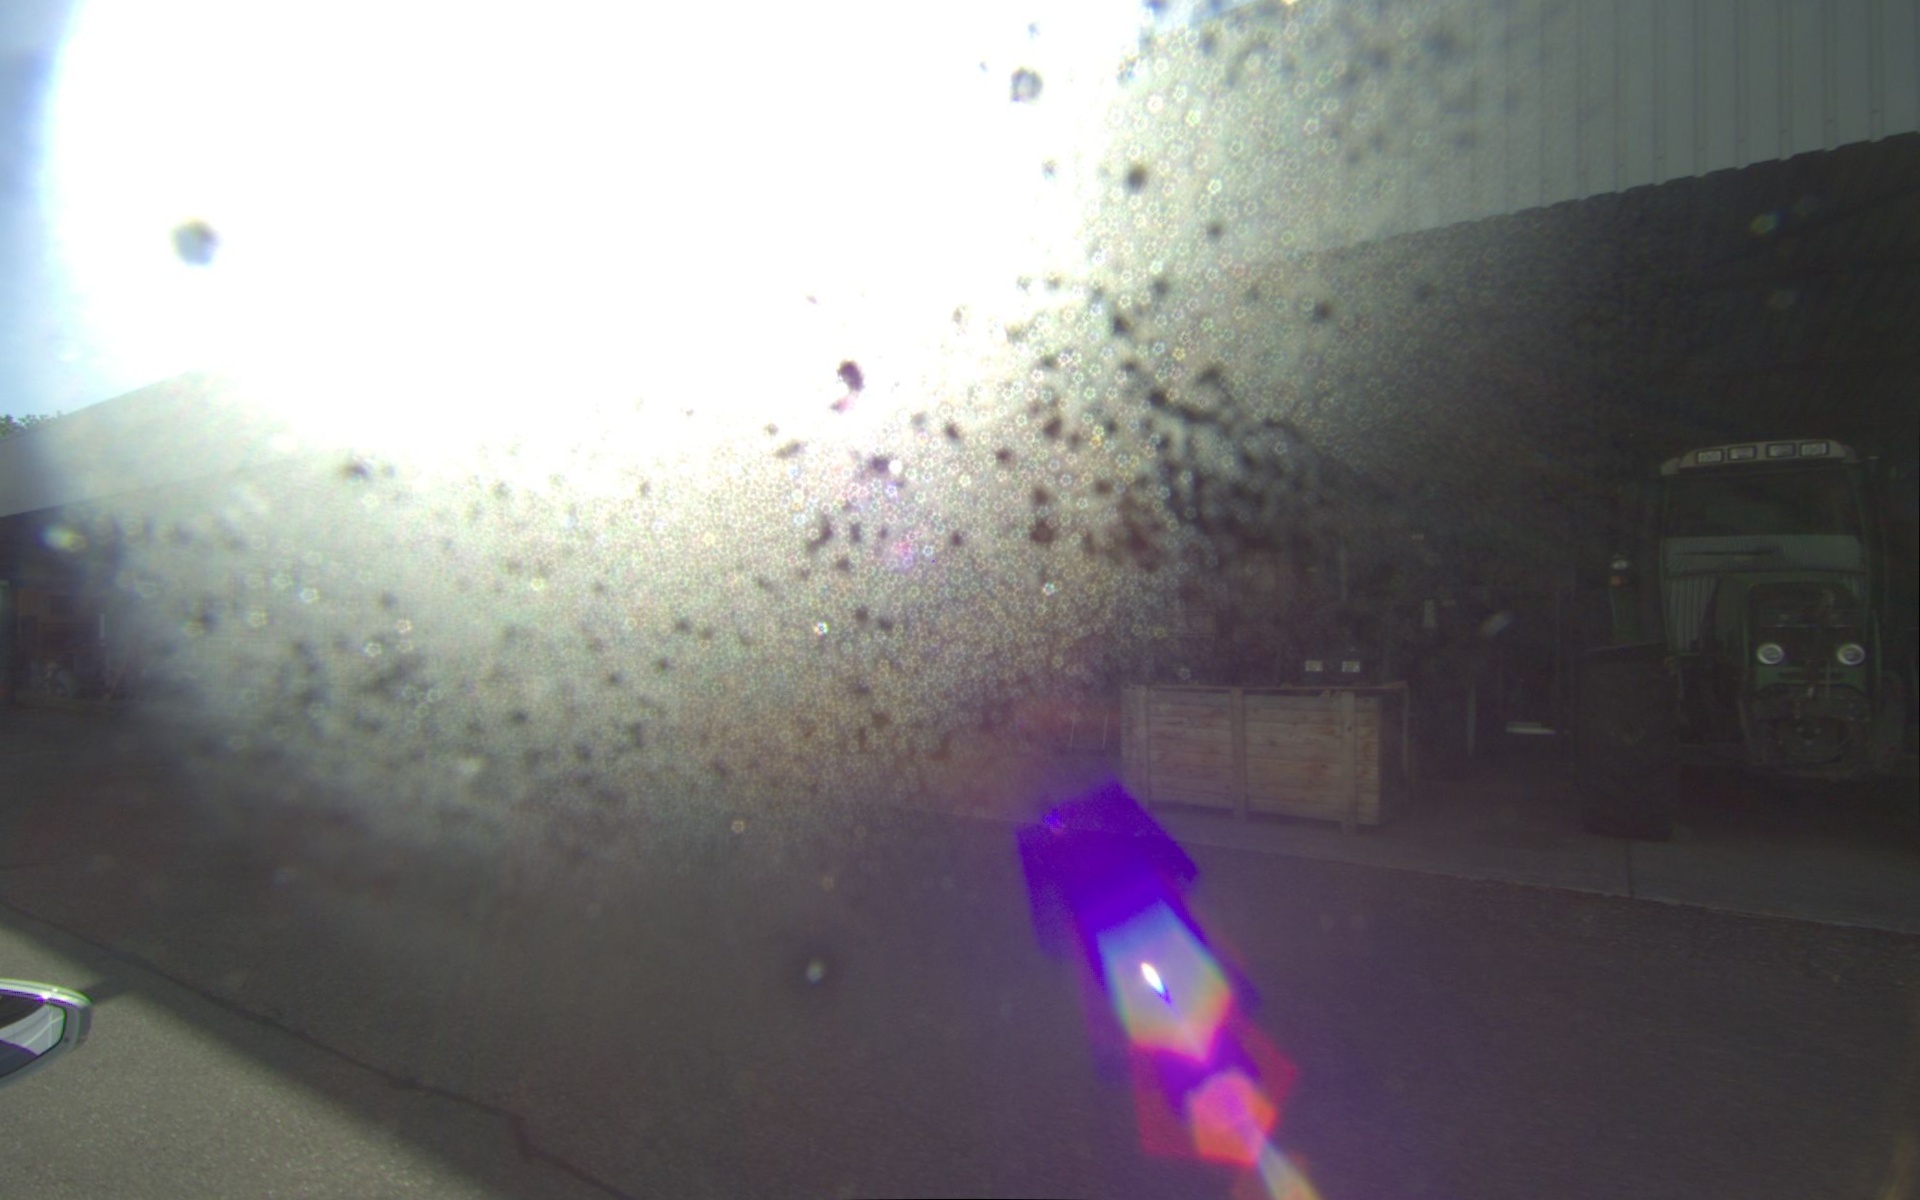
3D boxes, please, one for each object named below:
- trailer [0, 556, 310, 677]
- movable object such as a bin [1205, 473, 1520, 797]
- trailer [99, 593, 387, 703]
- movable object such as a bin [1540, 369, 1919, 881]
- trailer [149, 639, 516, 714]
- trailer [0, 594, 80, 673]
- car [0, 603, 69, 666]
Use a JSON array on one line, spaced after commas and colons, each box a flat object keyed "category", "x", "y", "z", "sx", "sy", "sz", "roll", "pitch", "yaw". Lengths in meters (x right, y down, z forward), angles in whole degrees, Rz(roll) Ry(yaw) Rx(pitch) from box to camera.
[{"category": "trailer", "x": -26.496, "y": 0.555, "z": 31.178, "sx": 2.762, "sy": 3.386, "sz": 10.247, "roll": 0, "pitch": -2, "yaw": 33}, {"category": "movable object such as a bin", "x": 4.791, "y": 0.412, "z": 11.437, "sx": 2.463, "sy": 2.866, "sz": 4.517, "roll": 0, "pitch": -2, "yaw": 34}, {"category": "trailer", "x": -14.667, "y": 0.964, "z": 20.734, "sx": 2.134, "sy": 2.015, "sz": 4.412, "roll": -1, "pitch": -2, "yaw": 35}, {"category": "movable object such as a bin", "x": 6.745, "y": 0.268, "z": 8.517, "sx": 2.781, "sy": 2.962, "sz": 5.822, "roll": 0, "pitch": -3, "yaw": 34}, {"category": "trailer", "x": -11.710, "y": 1.359, "z": 19.241, "sx": 1.946, "sy": 1.200, "sz": 5.719, "roll": -1, "pitch": -2, "yaw": 32}, {"category": "trailer", "x": -29.949, "y": 1.013, "z": 30.386, "sx": 2.019, "sy": 2.372, "sz": 4.506, "roll": -1, "pitch": -2, "yaw": 34}, {"category": "car", "x": -36.308, "y": 1.252, "z": 36.512, "sx": 2.122, "sy": 2.309, "sz": 5.324, "roll": -1, "pitch": -3, "yaw": 32}]
